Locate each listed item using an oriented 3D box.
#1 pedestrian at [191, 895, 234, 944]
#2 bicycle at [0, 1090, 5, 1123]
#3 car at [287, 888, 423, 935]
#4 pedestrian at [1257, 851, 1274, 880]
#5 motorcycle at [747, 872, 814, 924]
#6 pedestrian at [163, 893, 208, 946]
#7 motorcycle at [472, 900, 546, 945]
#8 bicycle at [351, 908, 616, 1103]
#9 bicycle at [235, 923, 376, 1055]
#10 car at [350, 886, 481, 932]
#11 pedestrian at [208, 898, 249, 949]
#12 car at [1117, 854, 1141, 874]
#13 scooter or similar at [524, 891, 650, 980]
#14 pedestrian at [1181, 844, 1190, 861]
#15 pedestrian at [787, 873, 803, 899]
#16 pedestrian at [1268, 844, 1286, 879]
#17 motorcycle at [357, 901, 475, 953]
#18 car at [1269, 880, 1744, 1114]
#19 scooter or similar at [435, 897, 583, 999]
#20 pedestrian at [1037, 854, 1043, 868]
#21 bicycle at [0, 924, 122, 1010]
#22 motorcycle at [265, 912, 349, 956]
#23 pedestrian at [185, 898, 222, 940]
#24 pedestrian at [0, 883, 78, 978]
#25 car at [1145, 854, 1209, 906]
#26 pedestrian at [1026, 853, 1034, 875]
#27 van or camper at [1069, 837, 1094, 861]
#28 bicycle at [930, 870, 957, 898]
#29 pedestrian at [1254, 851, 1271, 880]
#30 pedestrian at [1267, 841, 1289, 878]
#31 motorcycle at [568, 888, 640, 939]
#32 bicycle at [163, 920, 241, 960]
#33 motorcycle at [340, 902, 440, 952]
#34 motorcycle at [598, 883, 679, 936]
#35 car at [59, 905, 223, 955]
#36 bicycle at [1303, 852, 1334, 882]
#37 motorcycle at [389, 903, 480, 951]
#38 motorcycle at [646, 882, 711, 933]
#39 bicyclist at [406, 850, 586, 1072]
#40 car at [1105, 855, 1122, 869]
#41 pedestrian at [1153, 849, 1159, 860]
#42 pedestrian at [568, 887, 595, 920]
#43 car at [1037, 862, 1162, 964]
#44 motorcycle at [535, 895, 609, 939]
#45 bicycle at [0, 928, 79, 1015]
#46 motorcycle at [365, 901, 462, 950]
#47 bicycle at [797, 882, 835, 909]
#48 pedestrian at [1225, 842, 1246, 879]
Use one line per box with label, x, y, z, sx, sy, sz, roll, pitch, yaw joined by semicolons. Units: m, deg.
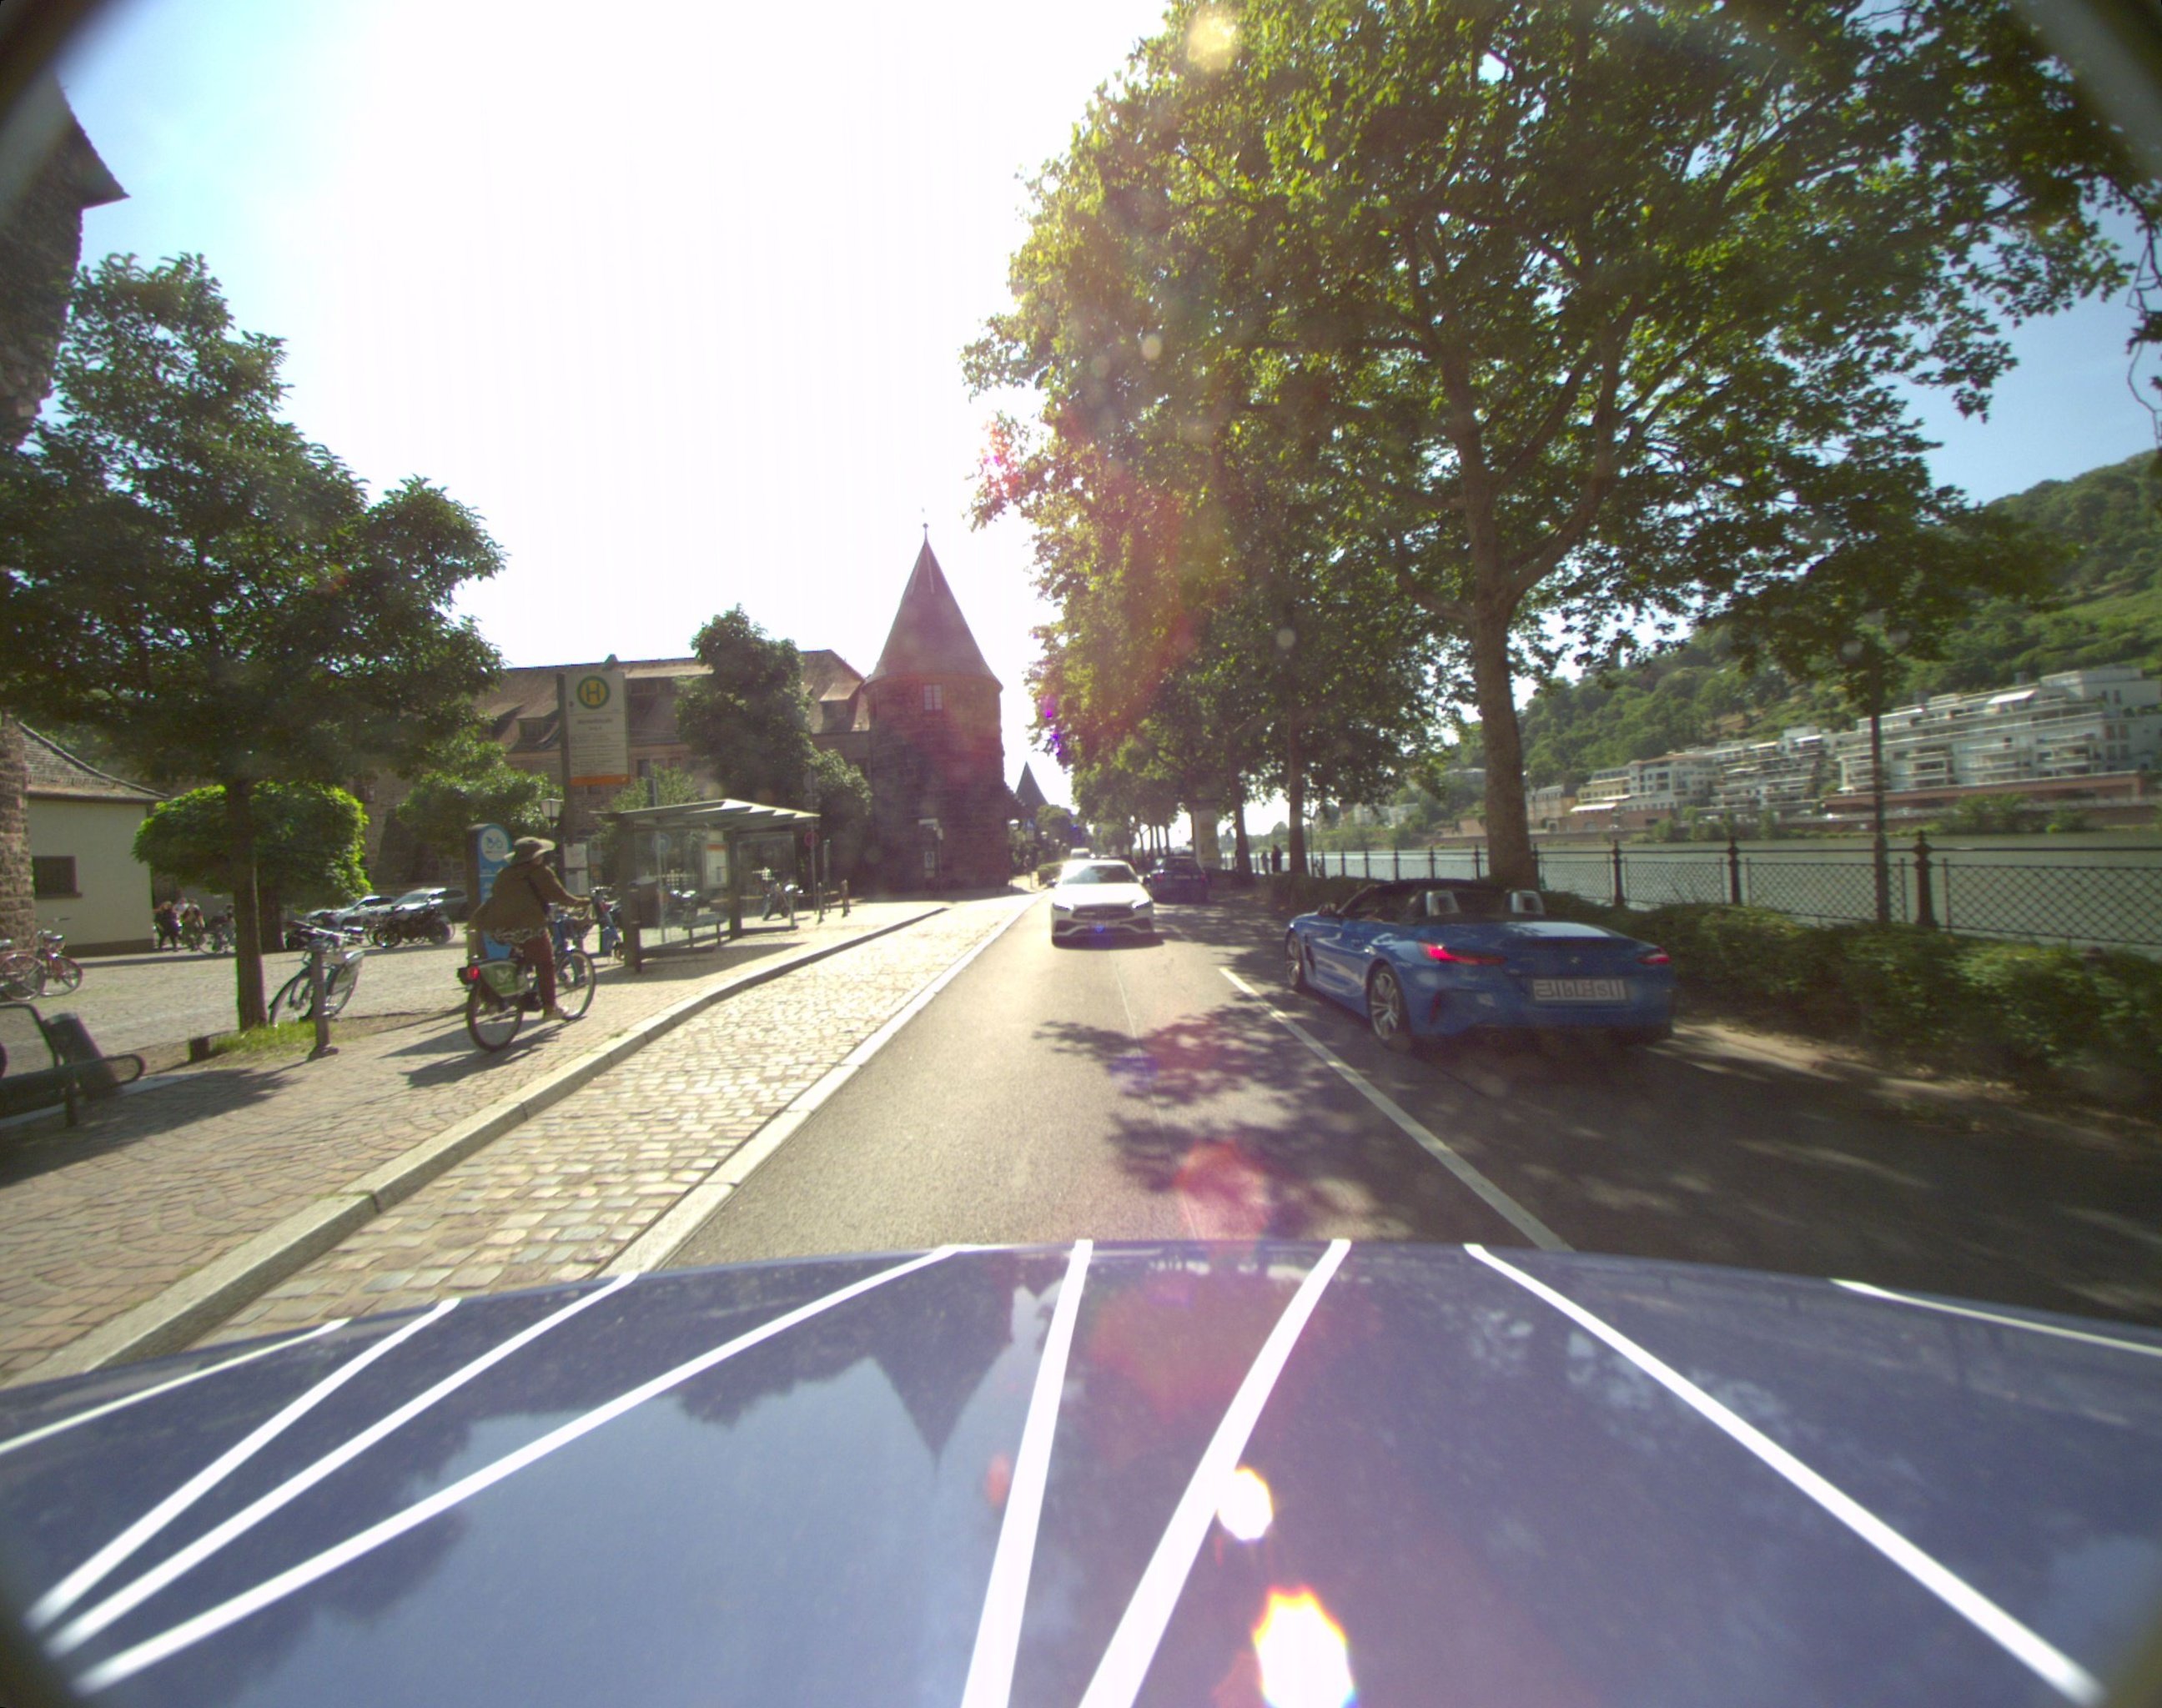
pedestrian;-30.421;2.285;26.625;0.661;1.620;0.674;-3;0;5
bicycle;-8.546;1.443;5.131;1.551;1.191;0.725;-9;0;7
car;-34.461;2.685;36.276;1.998;1.608;4.425;-2;3;4
pedestrian;8.748;0.544;35.994;0.633;1.312;0.553;-3;1;0
motorcycle;-8.275;1.176;21.046;0.885;1.285;2.527;-4;0;-3
pedestrian;-30.545;2.210;25.923;0.661;1.730;0.674;-3;0;5
motorcycle;-15.852;1.865;21.117;0.631;1.074;1.929;-3;-1;-3
bicycle;-4.637;1.090;6.132;0.691;1.123;2.008;-3;1;-7
bicycle;-8.333;1.392;8.249;0.548;1.125;1.734;-4;1;-29
car;-31.335;2.527;35.991;1.998;1.608;4.425;-2;3;4
pedestrian;-29.717;2.415;26.494;0.661;1.730;0.606;-3;0;5
car;4.276;0.913;67.823;1.875;1.661;4.745;-2;0;1
scooter or similar;-7.739;1.261;11.944;1.434;1.208;0.652;-5;1;0
pedestrian;10.829;-0.186;78.858;0.760;1.697;0.730;-3;1;0
pedestrian;-14.498;1.619;38.497;0.667;1.224;0.781;-3;1;-20
pedestrian;9.266;0.363;35.898;0.633;1.618;0.553;-3;1;0
motorcycle;-17.679;1.925;20.236;2.342;1.140;0.878;-4;1;4
car;3.146;0.956;6.814;1.845;1.262;4.261;0;1;0
scooter or similar;-7.846;1.272;10.470;1.434;1.208;0.652;-5;1;0
pedestrian;-4.657;0.812;87.208;0.592;1.662;0.441;-3;1;0
bicycle;-16.649;1.788;12.382;0.548;1.146;1.922;-4;1;-30
motorcycle;-22.900;2.341;22.530;0.599;1.153;1.917;-3;-1;-5
pedestrian;-37.870;2.788;32.796;0.661;1.730;0.711;-3;0;5
pedestrian;-21.398;1.548;15.474;0.798;1.835;0.761;-3;1;0
car;3.094;0.795;25.244;1.705;1.509;4.404;0;1;2
pedestrian;-4.374;0.828;65.076;0.556;1.844;1.023;-3;1;0
van or camper;0.054;-0.507;78.881;2.437;2.271;6.203;-3;1;0
bicycle;-6.266;1.331;34.662;0.845;1.146;1.844;-3;1;0
pedestrian;8.608;0.541;36.005;0.633;1.312;0.553;-3;1;0
pedestrian;9.303;0.267;35.954;0.793;1.674;0.709;-3;1;0
motorcycle;-12.992;1.588;20.757;0.671;1.224;1.807;-4;0;3
bicycle;-26.719;2.609;23.130;0.422;1.008;1.714;-3;0;-5
motorcycle;-20.559;2.155;22.664;0.598;1.229;2.049;-3;1;27
motorcycle;-12.081;1.481;20.864;0.740;1.229;2.272;-3;1;3
car;-34.877;2.803;28.254;4.138;1.521;1.800;-2;2;6
bicycle;9.602;0.506;30.780;0.564;1.146;1.844;-5;1;0
motorcycle;-18.861;2.105;22.234;0.742;1.138;2.020;-5;1;3
motorcycle;-11.190;1.448;21.221;0.660;1.229;2.215;-3;1;-3
bicyclist;-4.658;0.799;6.127;0.711;1.619;0.886;-3;1;-7
car;4.226;1.051;100.118;1.998;1.598;4.257;-3;1;0
pedestrian;11.014;0.065;111.215;0.760;1.696;0.730;-2;1;3
pedestrian;-22.105;2.190;33.630;0.660;1.413;0.675;-2;3;31
car;0.316;0.936;14.062;1.875;1.416;4.744;-2;0;1
motorcycle;-14.806;1.806;22.164;0.877;1.088;1.904;-3;1;-3
bicycle;-15.884;1.758;10.927;0.527;1.154;1.925;-3;1;-9
motorcycle;-19.861;2.097;22.672;0.598;1.229;2.049;-3;1;26
bicycle;-11.063;1.710;31.742;0.659;0.996;1.714;-3;0;10
pedestrian;7.374;0.321;36.364;0.760;1.720;0.730;-3;1;0
